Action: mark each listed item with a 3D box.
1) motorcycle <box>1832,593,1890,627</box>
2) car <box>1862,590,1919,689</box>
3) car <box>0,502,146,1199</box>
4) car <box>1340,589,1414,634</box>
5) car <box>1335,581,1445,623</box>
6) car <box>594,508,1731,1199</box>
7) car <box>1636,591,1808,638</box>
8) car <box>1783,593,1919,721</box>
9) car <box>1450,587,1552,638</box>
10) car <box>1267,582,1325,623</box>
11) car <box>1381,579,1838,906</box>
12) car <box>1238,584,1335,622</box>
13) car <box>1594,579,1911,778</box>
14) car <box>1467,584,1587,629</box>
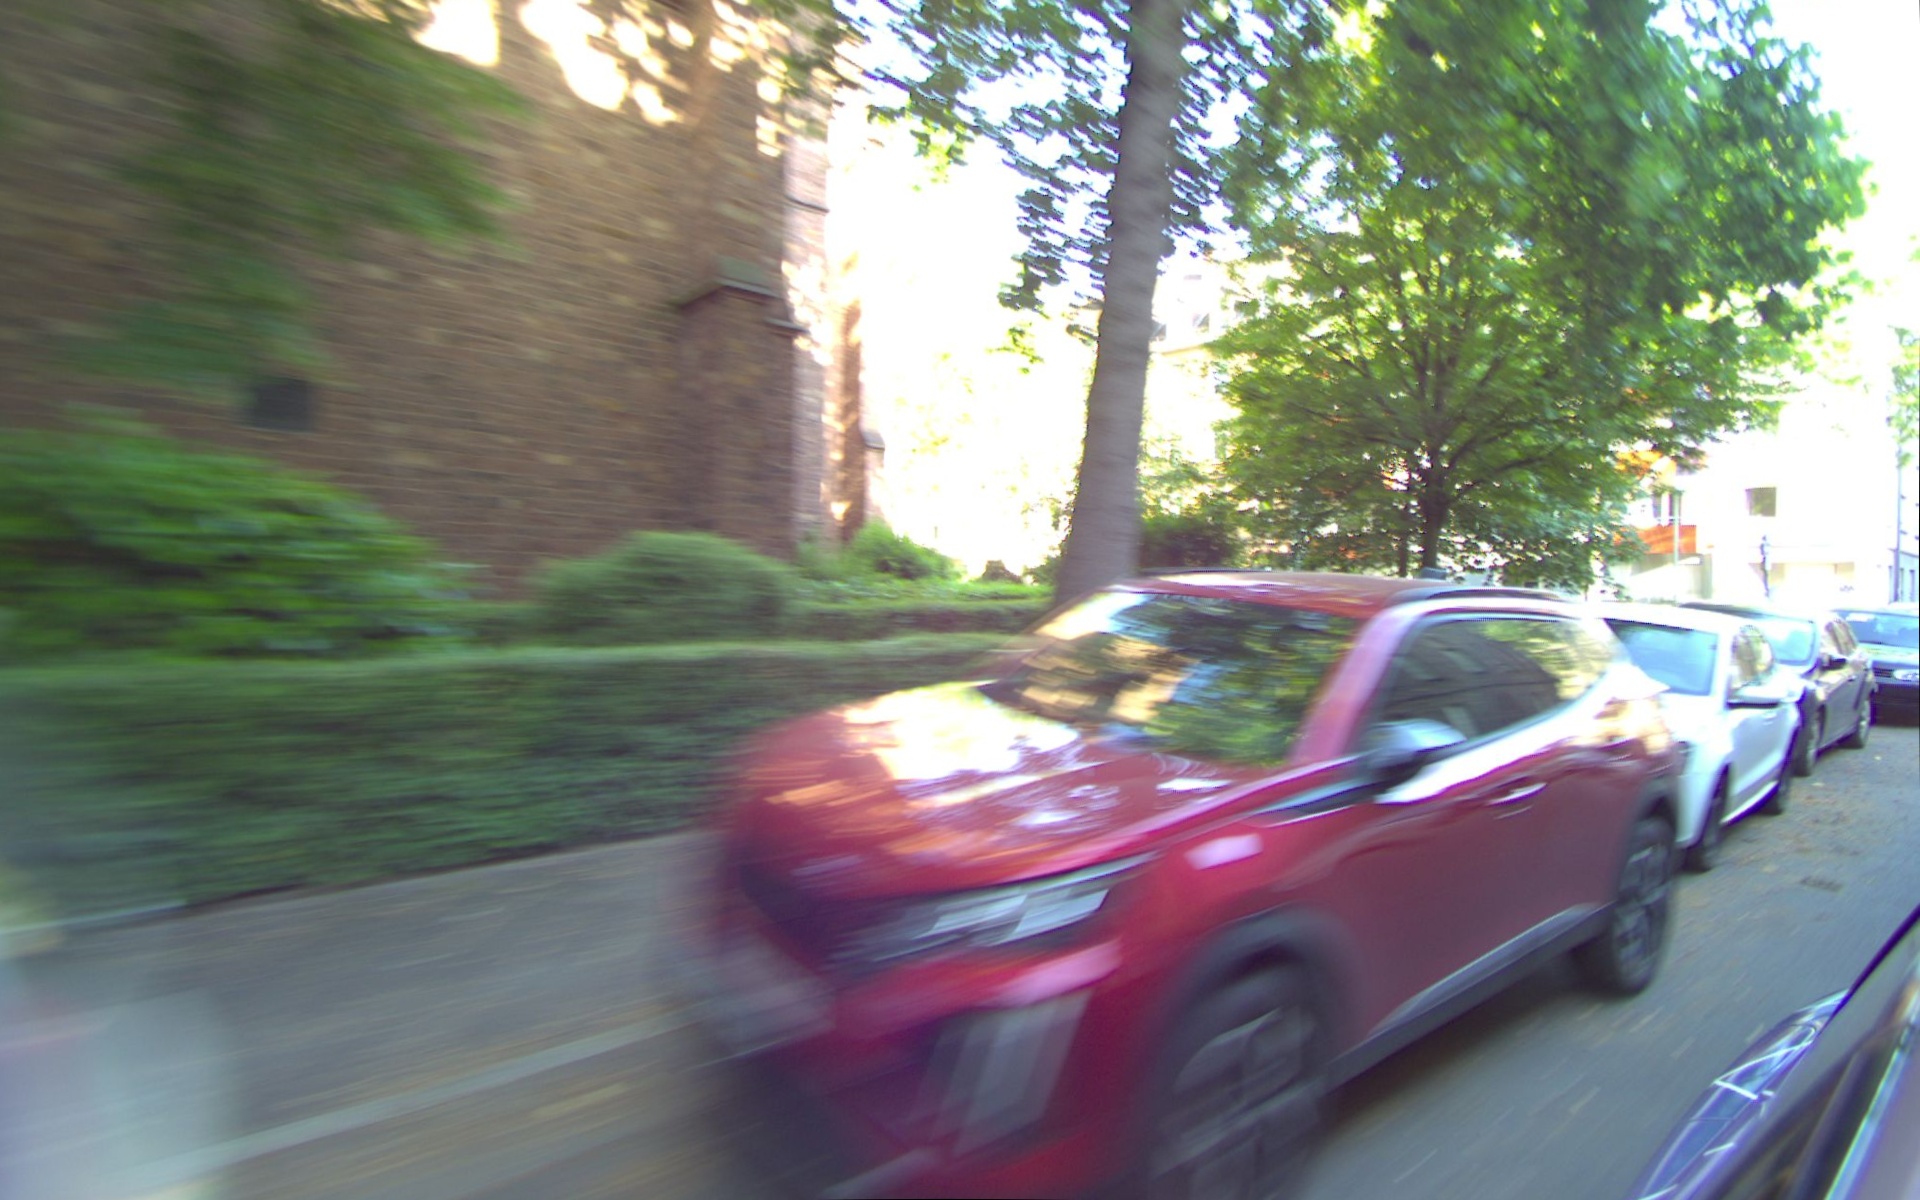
[{"bbox_3d":[30.758,0.331,34.568,1.467,1.131,0.894,1,0,43],"label":"motorcycle"},{"bbox_3d":[16.884,0.633,17.347,3.766,1.538,1.712,-1,3,-42],"label":"car"},{"bbox_3d":[-2.681,0.662,0.402,3.655,1.523,1.603,-1,6,-40],"label":"car"},{"bbox_3d":[14.664,0.354,35.765,1.756,1.449,4.397,-1,1,14],"label":"car"},{"bbox_3d":[18.301,0.042,43.221,1.622,1.636,4.032,-3,3,-41],"label":"car"},{"bbox_3d":[1.030,0.595,3.570,4.026,1.604,1.669,-1,6,-39],"label":"car"},{"bbox_3d":[25.627,0.445,34.147,1.751,1.449,4.408,-1,1,-41],"label":"car"},{"bbox_3d":[12.655,0.678,13.806,3.935,1.454,1.624,-1,3,-42],"label":"car"},{"bbox_3d":[16.912,0.348,31.857,1.756,1.449,4.397,-1,1,14],"label":"car"},{"bbox_3d":[12.835,0.052,38.873,1.756,1.449,4.397,-1,1,14],"label":"car"},{"bbox_3d":[4.694,0.691,7.083,3.885,1.537,1.667,-1,6,-43],"label":"car"},{"bbox_3d":[15.059,0.104,46.777,1.622,1.598,3.997,-3,3,-41],"label":"car"},{"bbox_3d":[8.232,0.623,10.391,3.988,1.537,1.669,-1,6,-40],"label":"car"},{"bbox_3d":[21.760,0.217,38.923,1.622,1.577,3.692,-3,3,-41],"label":"car"}]
